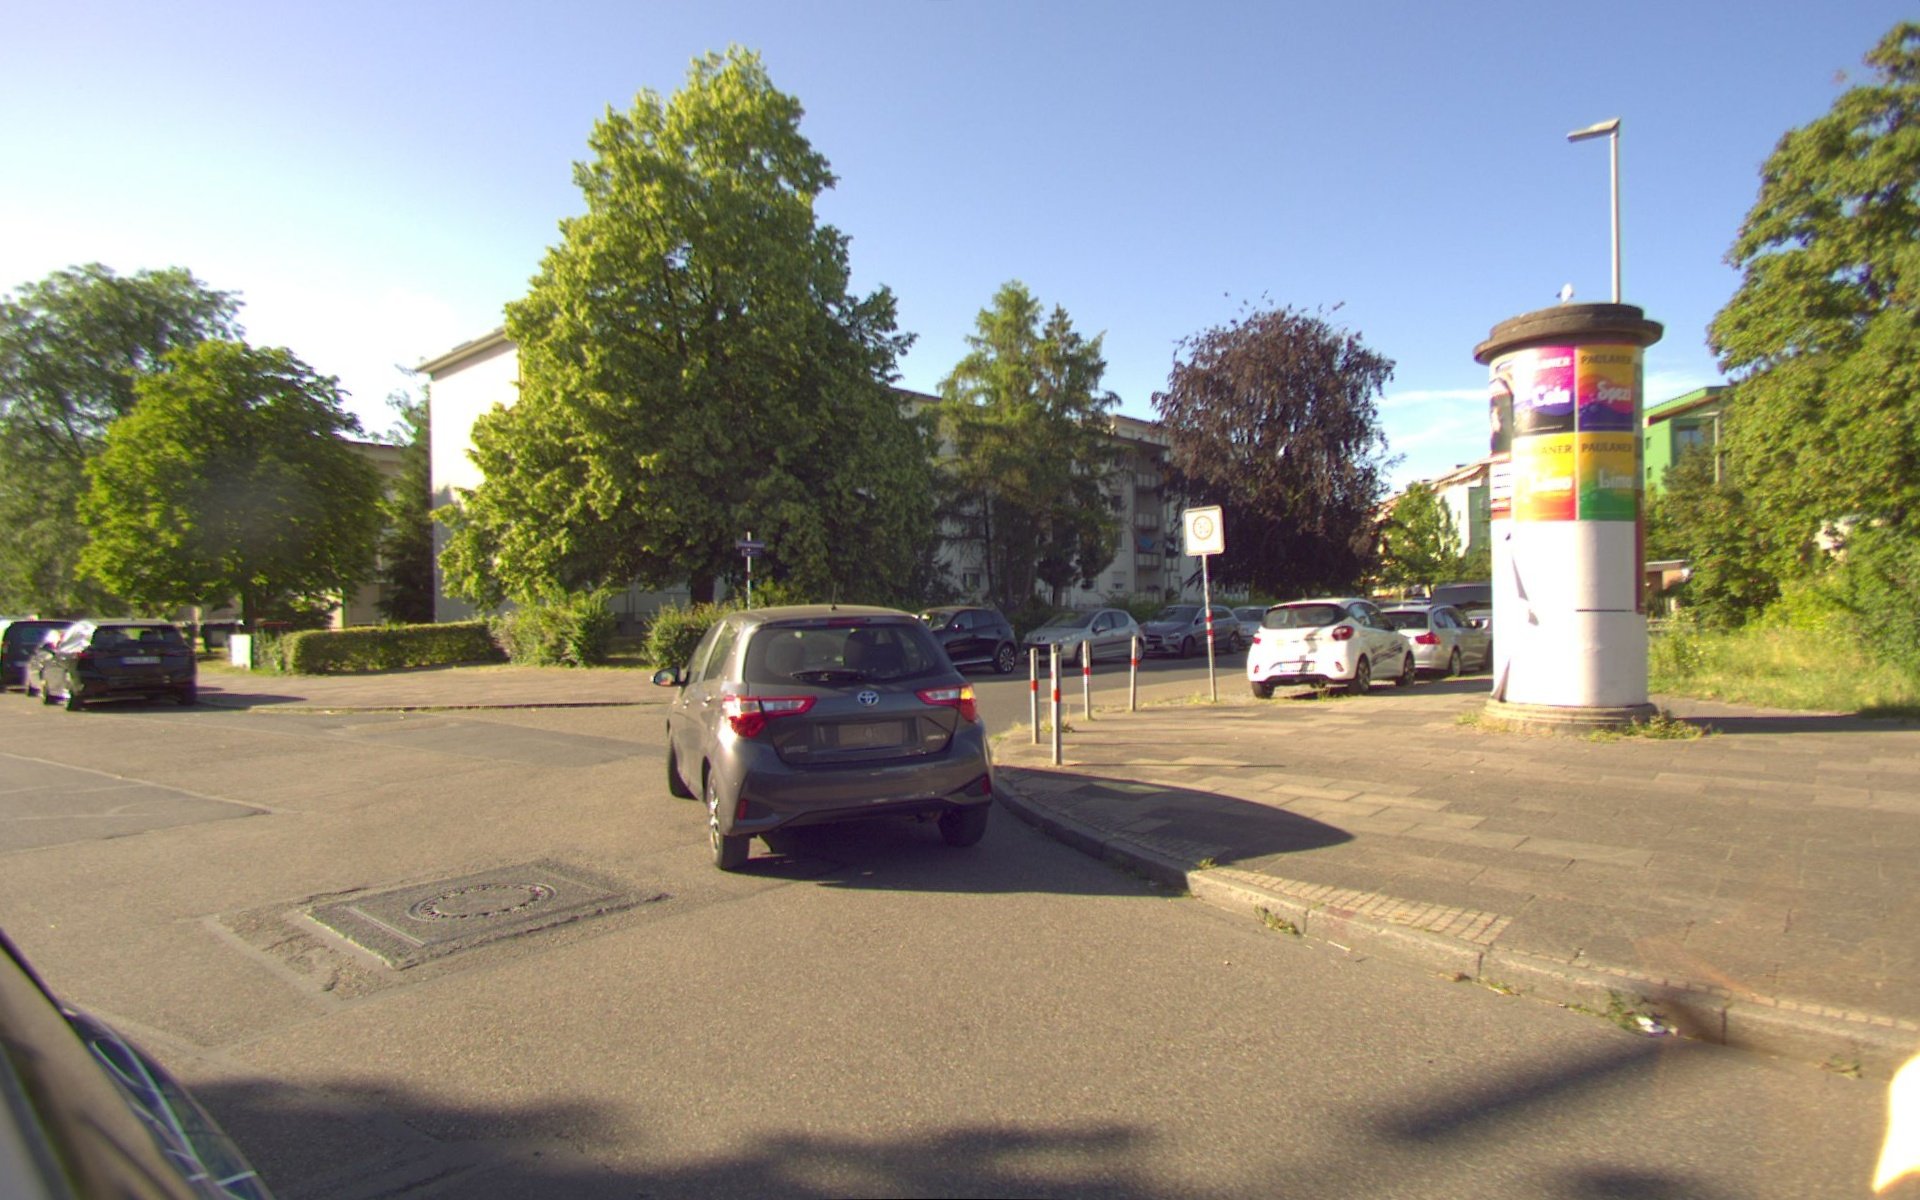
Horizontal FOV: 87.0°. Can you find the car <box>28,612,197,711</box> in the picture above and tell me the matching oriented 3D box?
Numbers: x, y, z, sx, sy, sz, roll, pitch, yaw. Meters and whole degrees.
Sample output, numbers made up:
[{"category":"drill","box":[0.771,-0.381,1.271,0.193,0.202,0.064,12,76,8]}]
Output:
[{"category":"car","box":[-15.681,1.080,18.651,4.422,1.586,1.761,-2,-2,41]}]

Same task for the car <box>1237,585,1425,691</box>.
[{"category":"car","box":[5.970,0.554,16.095,1.736,1.473,3.484,-3,-1,39]}]

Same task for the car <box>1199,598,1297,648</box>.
[{"category":"car","box":[9.744,0.762,34.074,1.744,1.554,4.046,-1,-1,39]}]

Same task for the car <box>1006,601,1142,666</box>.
[{"category":"car","box":[3.036,0.842,26.379,1.744,1.554,3.876,-1,-1,39]}]

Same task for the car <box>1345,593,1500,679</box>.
[{"category":"car","box":[9.229,0.661,20.026,1.736,1.473,4.288,-3,-1,39]}]

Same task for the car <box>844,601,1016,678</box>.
[{"category":"car","box":[-0.589,0.834,22.477,1.744,1.554,3.876,-1,-1,39]}]

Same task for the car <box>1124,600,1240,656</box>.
[{"category":"car","box":[6.632,0.805,30.013,1.744,1.554,4.046,-1,-1,39]}]

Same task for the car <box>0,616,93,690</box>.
[{"category":"car","box":[-23.063,1.307,25.109,3.646,1.695,1.794,-2,-4,41]}]

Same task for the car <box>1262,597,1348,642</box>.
[{"category":"car","box":[12.864,0.720,37.615,1.744,1.554,4.046,-1,-1,39]}]

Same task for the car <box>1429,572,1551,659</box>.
[{"category":"car","box":[12.761,0.340,24.235,1.736,1.869,4.288,-3,-1,39]}]

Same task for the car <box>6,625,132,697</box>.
[{"category":"car","box":[-19.558,1.317,22.175,3.652,1.448,1.606,-2,-3,41]}]

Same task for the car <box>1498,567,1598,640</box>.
[{"category":"car","box":[16.592,0.090,28.449,1.736,1.869,4.288,-3,-1,39]}]

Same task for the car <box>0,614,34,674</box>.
[{"category":"car","box":[-33.094,1.509,34.442,4.510,1.956,1.884,-2,-3,42]}]

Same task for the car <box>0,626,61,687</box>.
[{"category":"car","box":[-27.436,1.595,29.106,4.166,1.652,1.710,-2,-3,40]}]

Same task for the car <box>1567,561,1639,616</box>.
[{"category":"car","box":[24.005,-0.429,37.715,1.736,1.869,4.288,-3,-1,39]}]

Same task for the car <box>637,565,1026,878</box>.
[{"category":"car","box":[-1.206,0.641,7.243,1.626,1.567,4.015,0,-1,-25]}]
